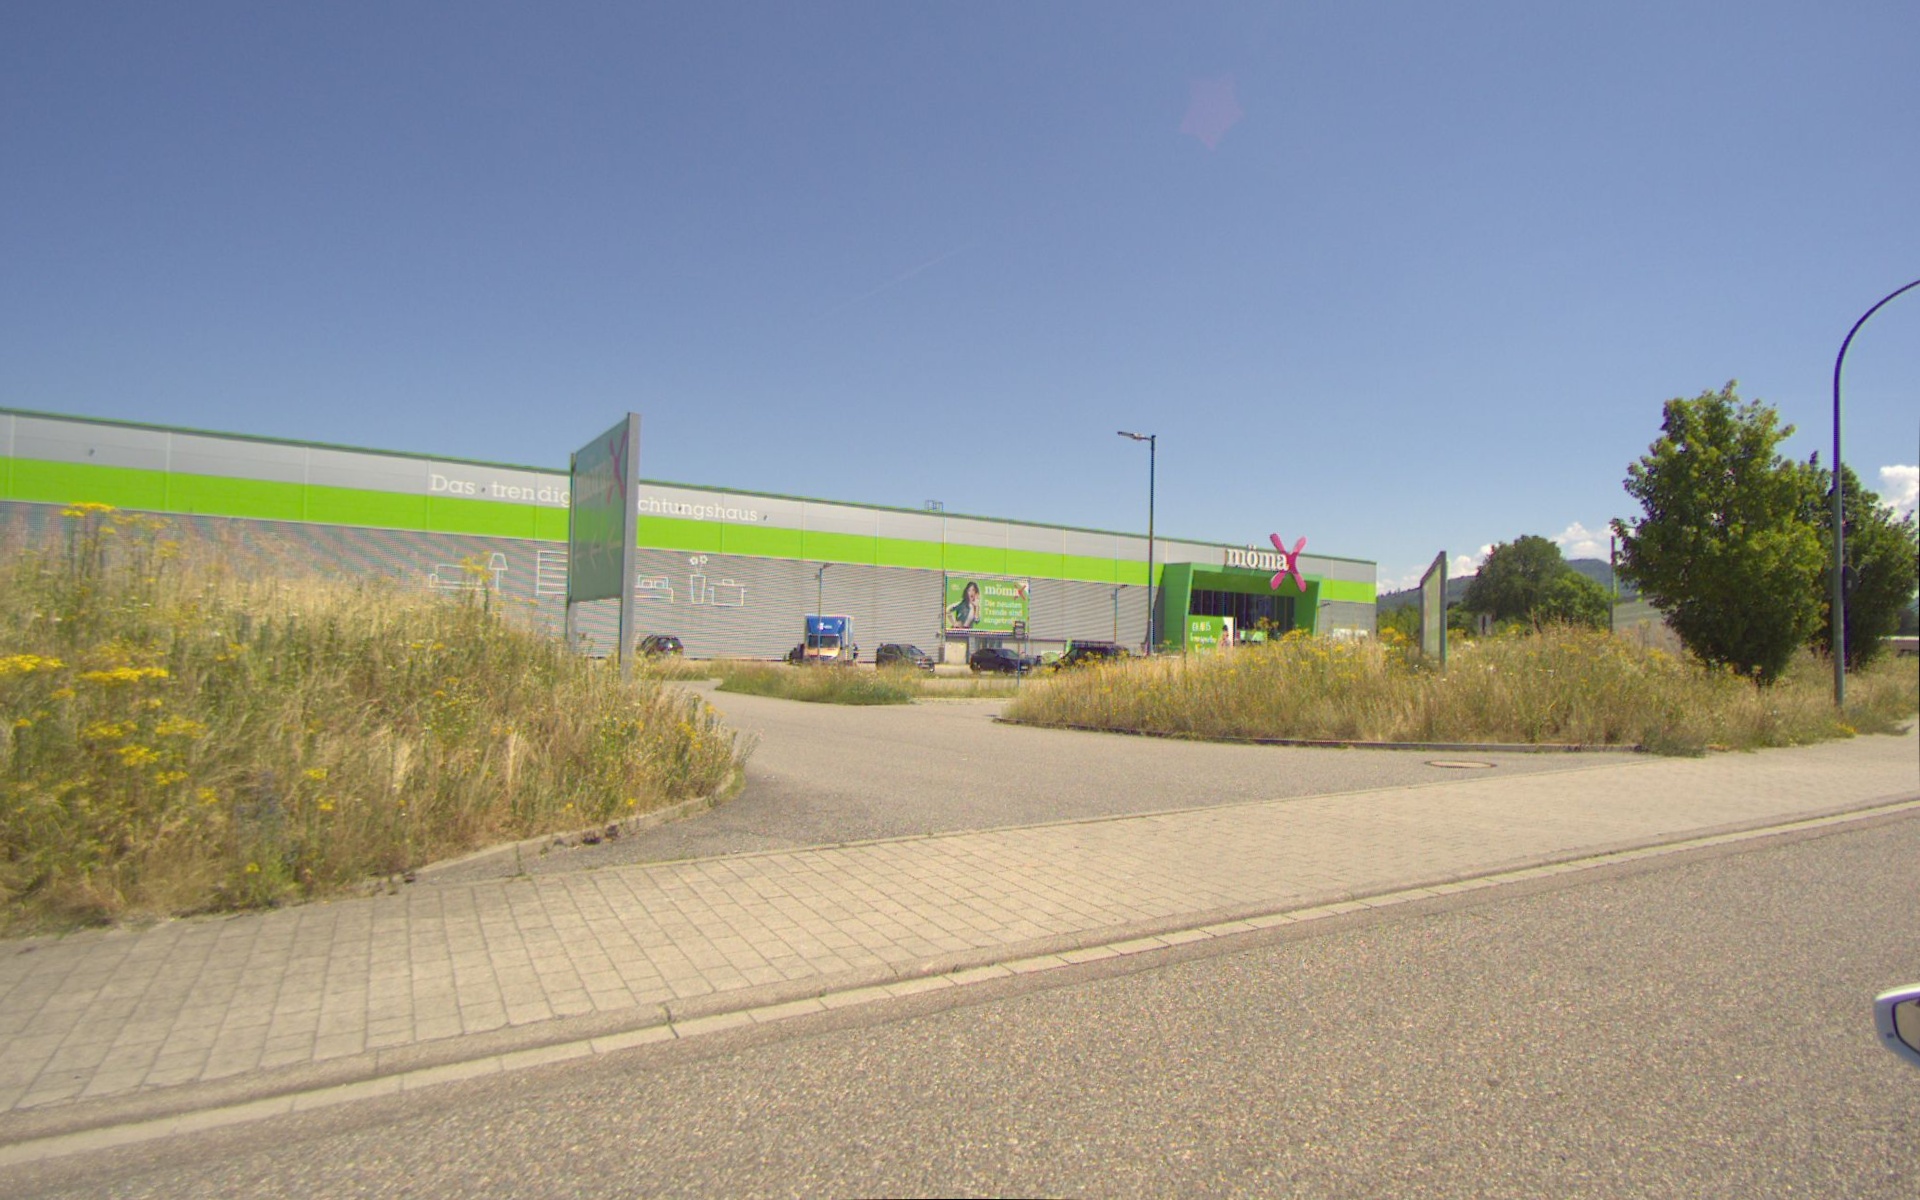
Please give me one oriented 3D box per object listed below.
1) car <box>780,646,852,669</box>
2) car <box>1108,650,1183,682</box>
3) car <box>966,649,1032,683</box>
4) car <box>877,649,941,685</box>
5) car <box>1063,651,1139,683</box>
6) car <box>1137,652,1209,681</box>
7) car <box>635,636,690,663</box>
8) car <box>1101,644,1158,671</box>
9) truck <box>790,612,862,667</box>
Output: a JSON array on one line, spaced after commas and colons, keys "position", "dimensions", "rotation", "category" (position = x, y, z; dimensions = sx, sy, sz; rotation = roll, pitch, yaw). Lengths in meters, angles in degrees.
[{"position": [-9.814, 3.890, 68.522], "dimensions": [4.414, 1.509, 2.081], "rotation": [2, -2, -32], "category": "car"}, {"position": [10.548, 3.741, 57.348], "dimensions": [1.980, 1.533, 3.961], "rotation": [2, -1, -35], "category": "car"}, {"position": [2.292, 3.920, 60.241], "dimensions": [1.977, 1.785, 4.238], "rotation": [1, -1, -30], "category": "car"}, {"position": [-2.955, 3.769, 57.541], "dimensions": [1.977, 1.785, 4.238], "rotation": [1, -1, -30], "category": "car"}, {"position": [7.699, 3.646, 55.139], "dimensions": [1.980, 1.486, 3.961], "rotation": [2, -1, -35], "category": "car"}, {"position": [12.515, 3.885, 59.223], "dimensions": [1.828, 1.456, 3.961], "rotation": [2, -1, -35], "category": "car"}, {"position": [-18.130, 2.993, 61.103], "dimensions": [2.078, 1.509, 3.962], "rotation": [2, -2, -34], "category": "car"}, {"position": [12.758, 4.310, 75.855], "dimensions": [1.977, 1.785, 4.238], "rotation": [1, -1, -30], "category": "car"}, {"position": [-7.188, 2.084, 55.005], "dimensions": [2.904, 2.719, 7.777], "rotation": [1, -1, 0], "category": "truck"}]
